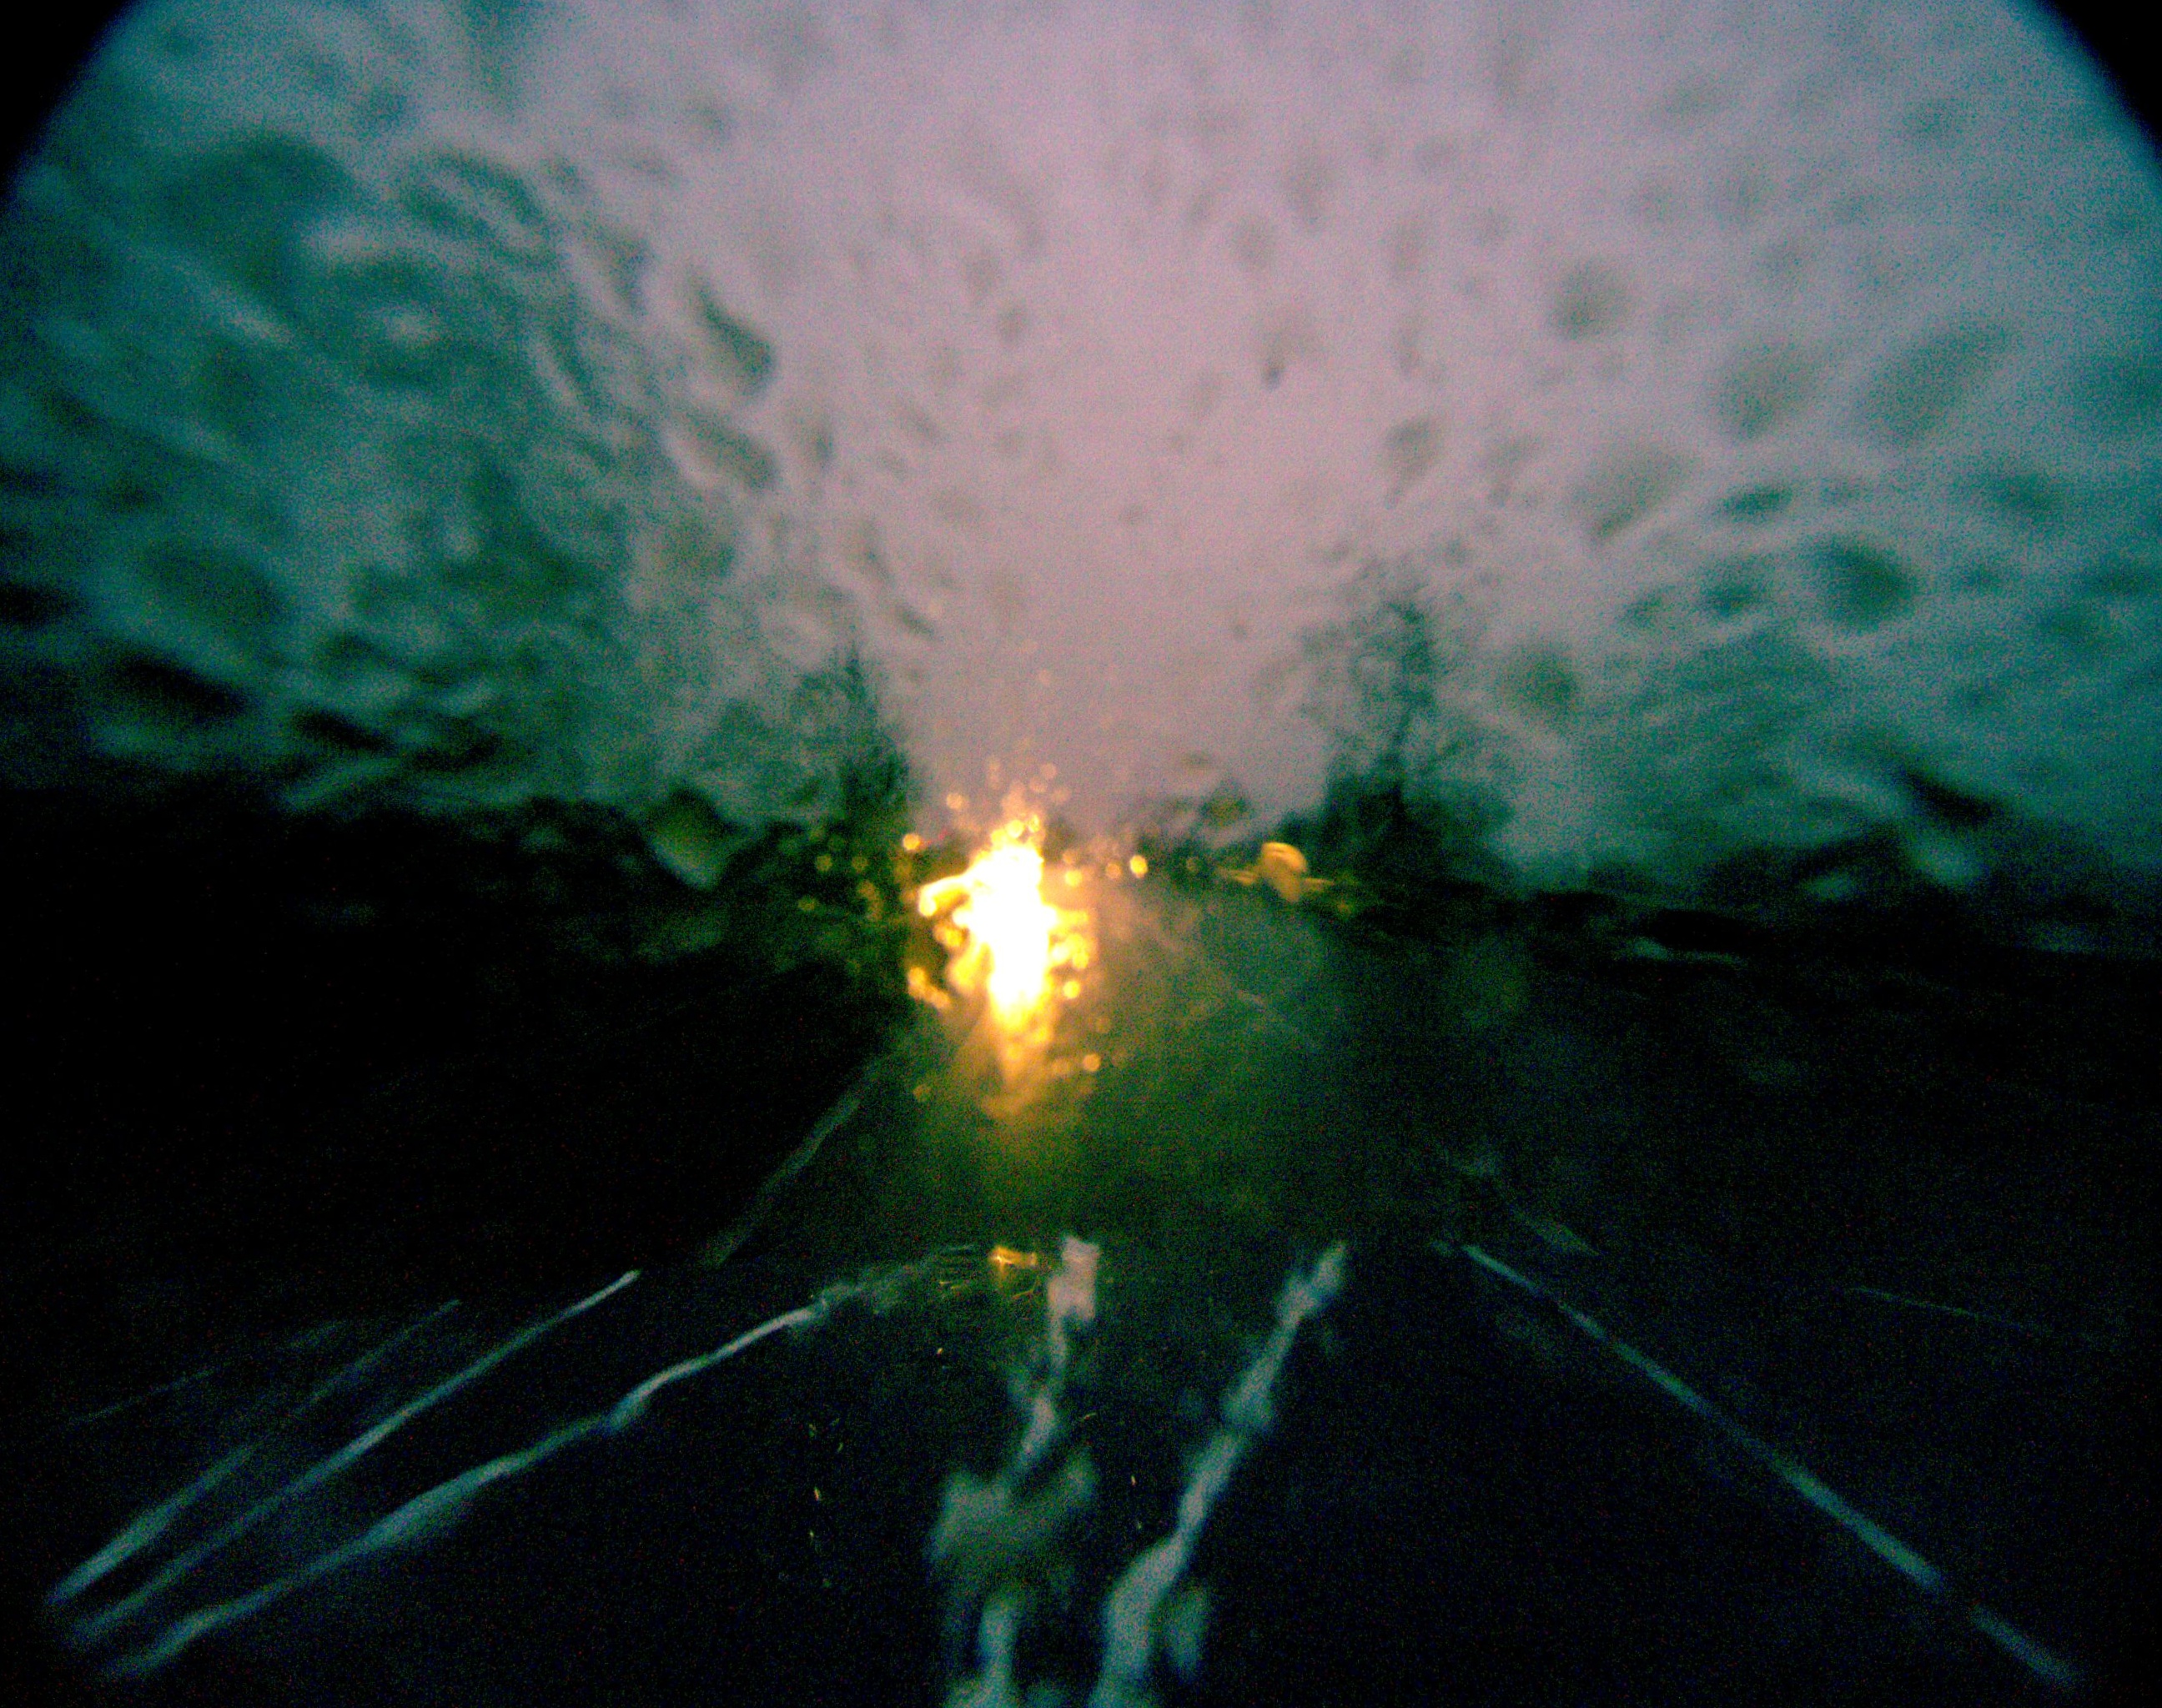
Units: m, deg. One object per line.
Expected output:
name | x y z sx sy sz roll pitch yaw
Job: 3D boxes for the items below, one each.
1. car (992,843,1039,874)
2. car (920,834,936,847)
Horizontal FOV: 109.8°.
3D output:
car | -3.577 0.281 40.854 2.104 1.565 4.796 1 -1 -10
car | -21.366 -1.894 106.223 1.890 1.853 4.998 -1 1 -15
